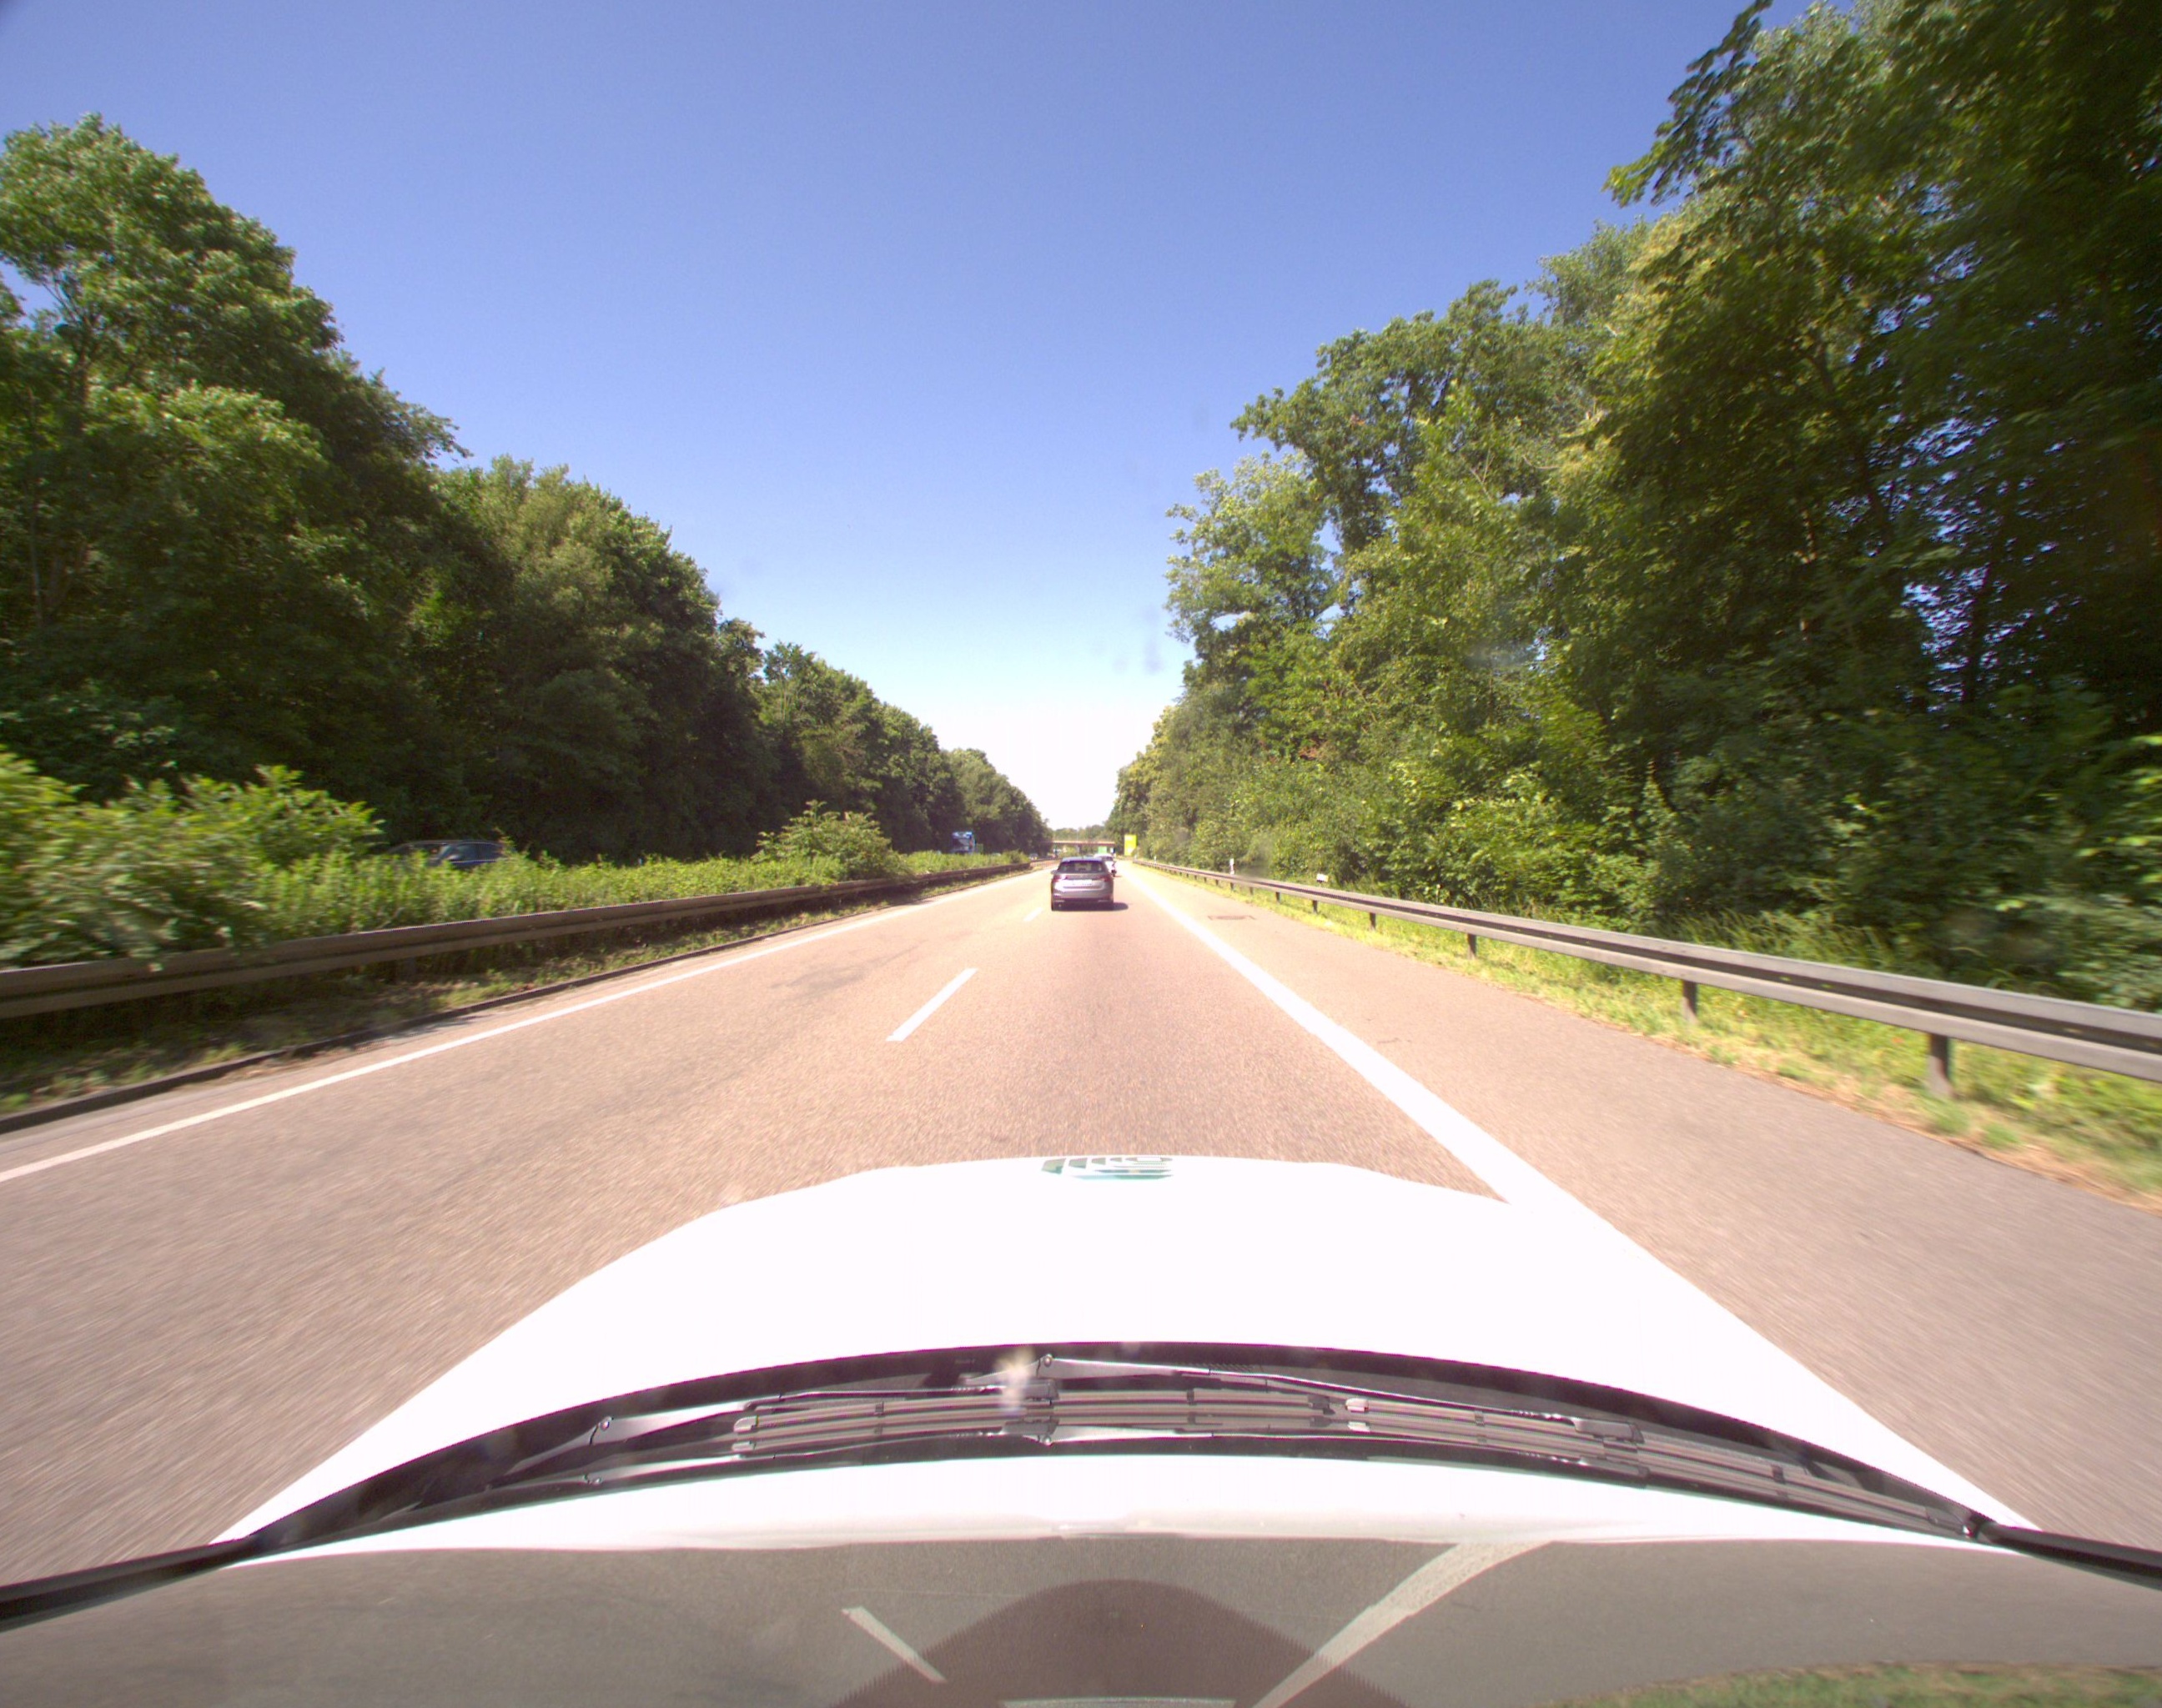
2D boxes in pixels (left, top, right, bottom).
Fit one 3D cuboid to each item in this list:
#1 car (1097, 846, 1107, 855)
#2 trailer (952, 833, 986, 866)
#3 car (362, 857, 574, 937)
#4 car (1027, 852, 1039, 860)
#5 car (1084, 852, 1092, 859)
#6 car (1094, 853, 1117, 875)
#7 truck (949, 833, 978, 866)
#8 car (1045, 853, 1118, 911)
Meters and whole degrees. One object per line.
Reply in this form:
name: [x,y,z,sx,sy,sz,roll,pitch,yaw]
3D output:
car: [6.326,-1.034,243.572,2.738,2.654,4.001,0,0,1]
trailer: [-13.105,-0.544,95.795,2.678,3.712,7.987,0,0,2]
car: [-15.243,0.970,20.651,1.687,1.662,4.714,-2,1,1]
car: [-8.678,0.366,148.084,1.665,1.473,3.626,0,0,3]
car: [1.863,0.484,222.919,1.986,2.014,4.001,0,0,2]
car: [1.715,0.688,55.813,1.516,1.446,3.343,0,0,3]
truck: [-13.182,-0.491,91.628,2.636,3.706,4.002,0,0,2]
car: [0.085,0.727,22.748,1.832,1.472,3.626,0,0,3]
